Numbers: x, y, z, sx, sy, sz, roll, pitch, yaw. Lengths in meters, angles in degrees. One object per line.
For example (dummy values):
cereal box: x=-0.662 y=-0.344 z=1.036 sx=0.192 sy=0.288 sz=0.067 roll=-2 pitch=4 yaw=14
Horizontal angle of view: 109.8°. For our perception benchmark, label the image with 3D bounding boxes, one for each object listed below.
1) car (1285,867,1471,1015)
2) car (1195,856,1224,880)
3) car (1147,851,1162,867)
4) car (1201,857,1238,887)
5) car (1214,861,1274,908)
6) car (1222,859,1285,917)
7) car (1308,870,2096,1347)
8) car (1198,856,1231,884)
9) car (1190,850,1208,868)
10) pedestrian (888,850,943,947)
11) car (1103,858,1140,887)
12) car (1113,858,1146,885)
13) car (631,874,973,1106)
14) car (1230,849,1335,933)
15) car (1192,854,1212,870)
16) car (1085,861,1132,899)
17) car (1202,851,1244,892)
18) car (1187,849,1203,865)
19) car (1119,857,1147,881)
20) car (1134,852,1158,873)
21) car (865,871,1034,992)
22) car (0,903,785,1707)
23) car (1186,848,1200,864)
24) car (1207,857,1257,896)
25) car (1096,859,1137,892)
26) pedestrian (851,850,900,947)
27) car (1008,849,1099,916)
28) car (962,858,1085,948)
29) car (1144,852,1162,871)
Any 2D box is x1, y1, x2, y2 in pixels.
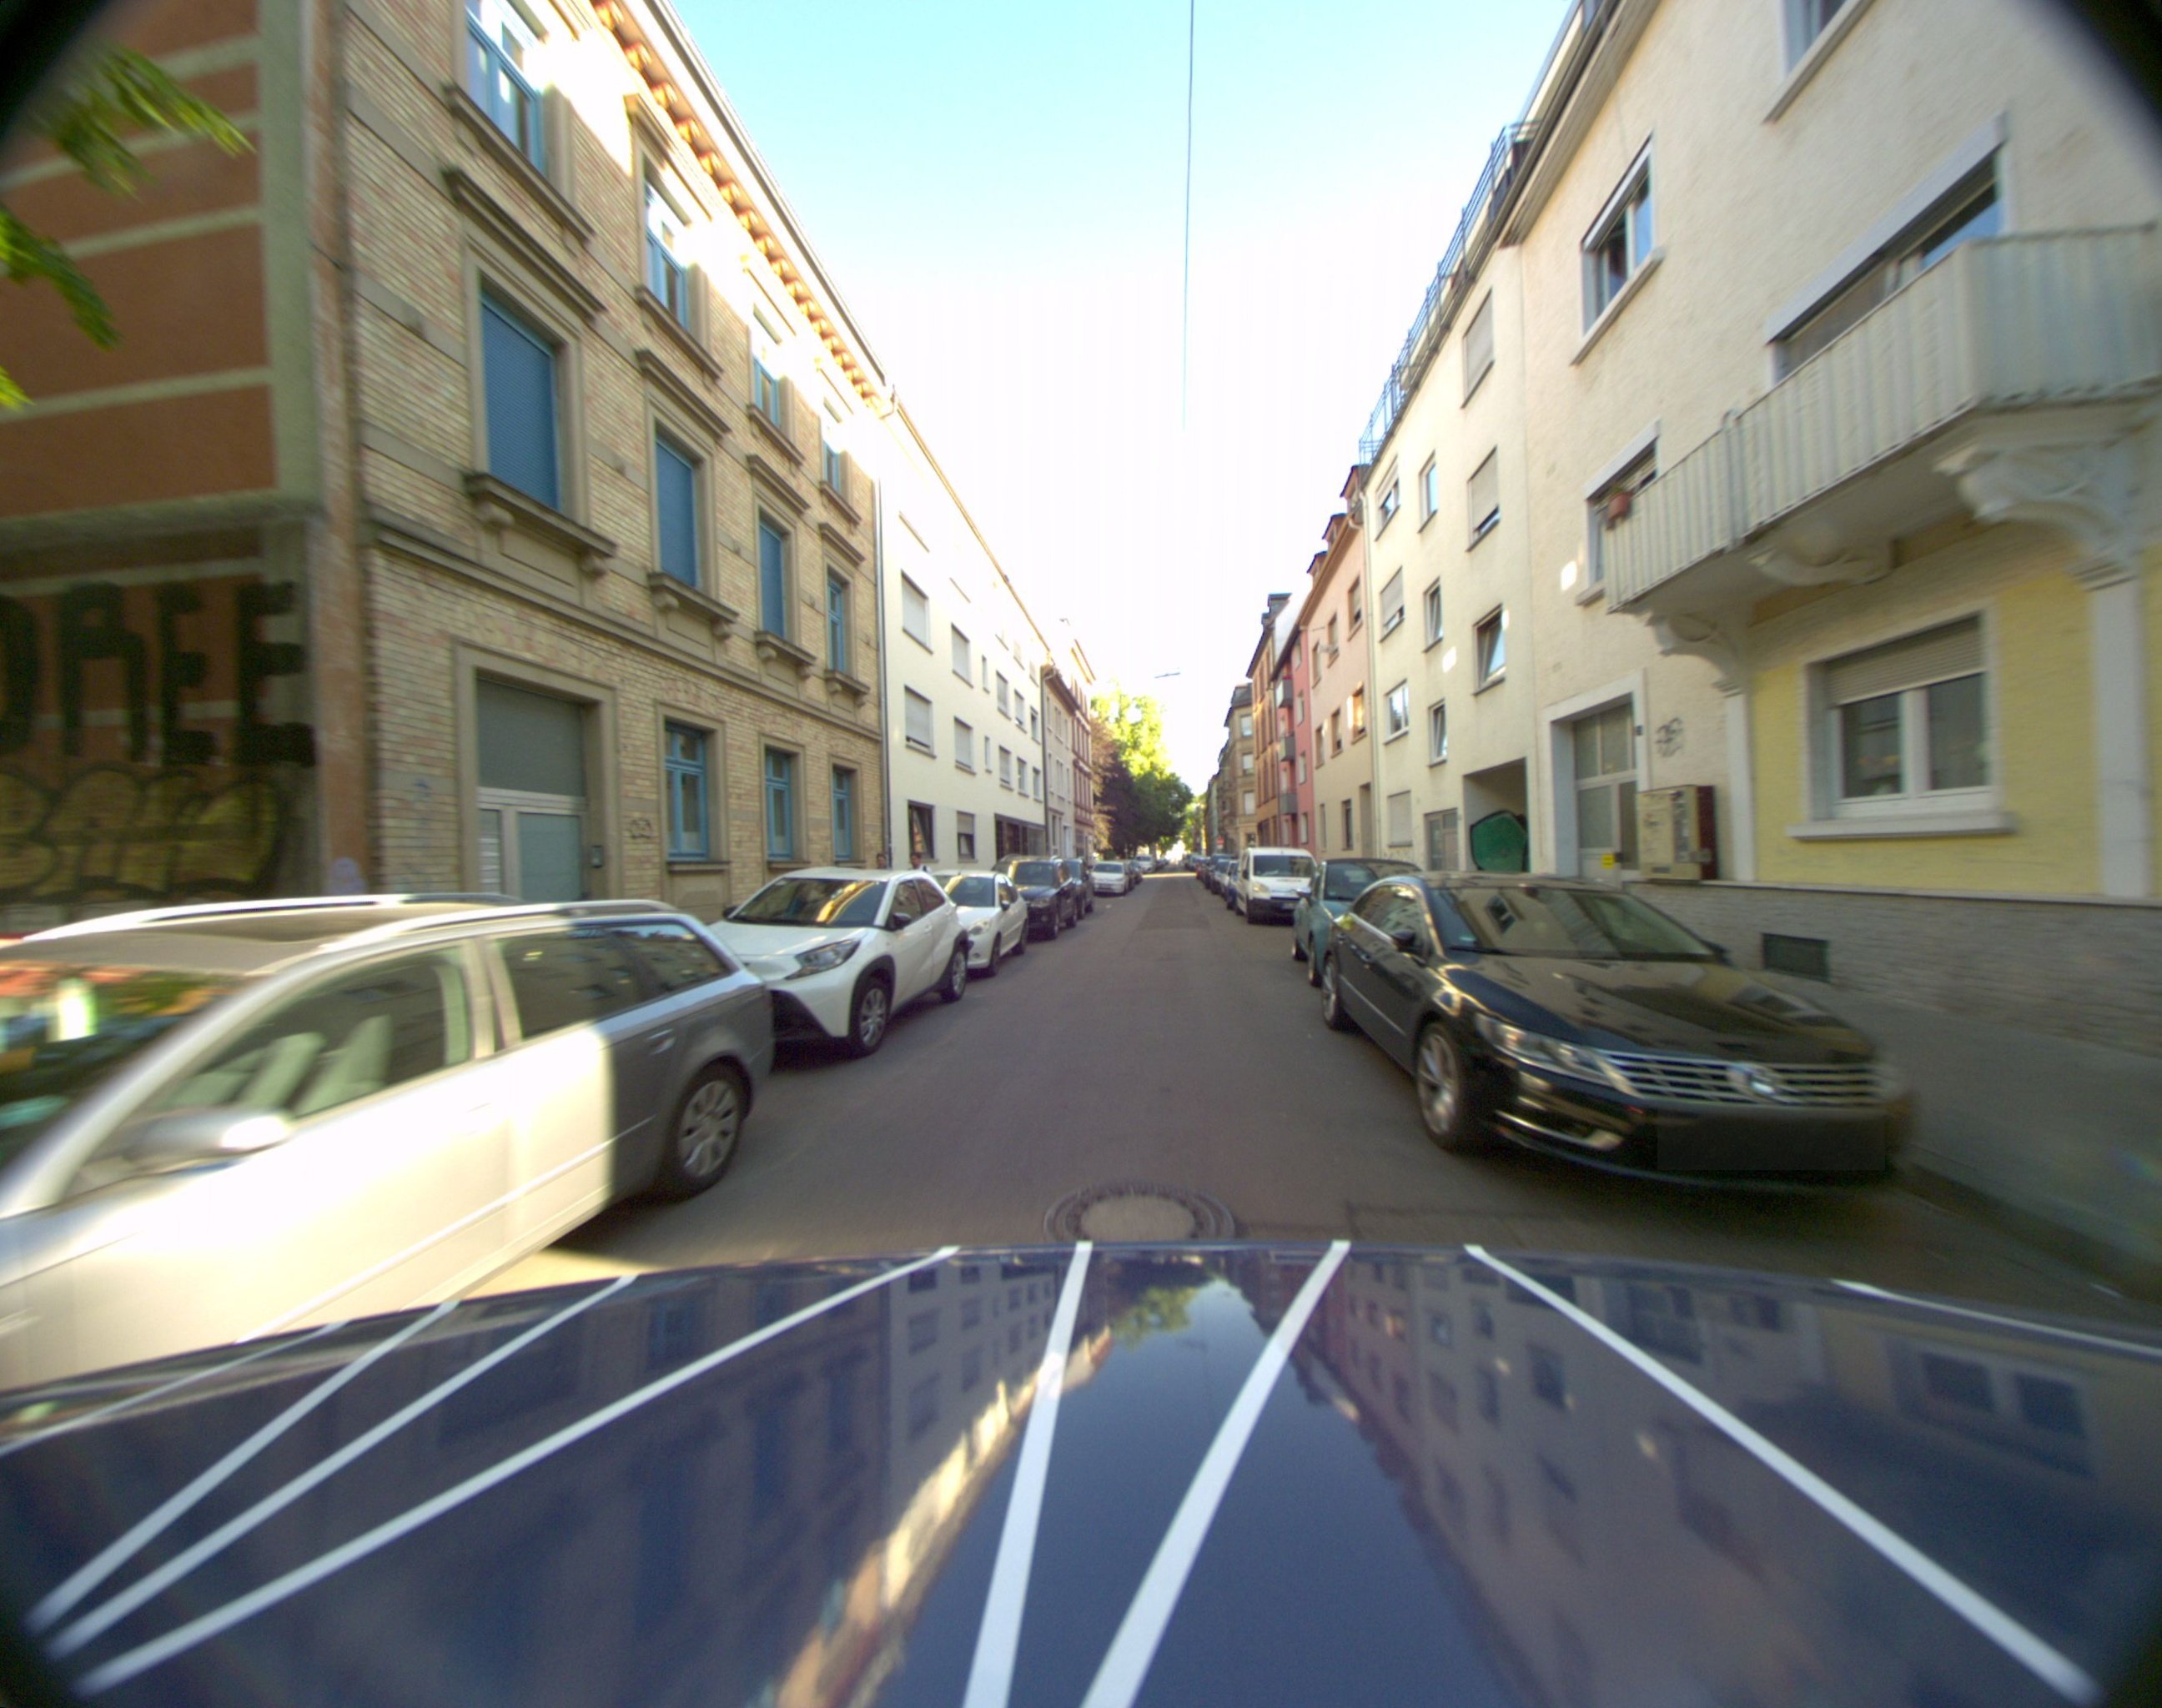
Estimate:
car: x=3.629 y=0.951 z=9.867 sx=1.596 sy=1.442 sz=3.488 roll=1 pitch=1 yaw=11
car: x=8.833 y=0.947 z=52.546 sx=1.767 sy=1.524 sz=4.105 roll=1 pitch=1 yaw=7
car: x=9.690 y=0.676 z=100.409 sx=1.767 sy=2.006 sz=4.266 roll=1 pitch=1 yaw=7
car: x=7.657 y=0.950 z=42.346 sx=1.767 sy=1.524 sz=4.105 roll=1 pitch=1 yaw=7
car: x=5.812 y=1.038 z=27.455 sx=1.674 sy=1.450 sz=4.086 roll=1 pitch=1 yaw=7
car: x=5.219 y=0.944 z=23.071 sx=1.673 sy=1.519 sz=4.088 roll=1 pitch=1 yaw=13
car: x=2.764 y=0.912 z=4.843 sx=1.782 sy=1.435 sz=4.394 roll=1 pitch=1 yaw=7
car: x=8.176 y=0.951 z=46.841 sx=1.767 sy=1.524 sz=4.105 roll=1 pitch=1 yaw=7
car: x=12.578 y=0.548 z=81.226 sx=1.767 sy=1.846 sz=3.995 roll=-1 pitch=0 yaw=7
pedestrian: x=-2.984 y=0.782 z=13.762 sx=0.711 sy=1.699 sz=0.752 roll=2 pitch=1 yaw=7
car: x=2.339 y=1.003 z=43.125 sx=1.767 sy=1.524 sz=4.105 roll=1 pitch=1 yaw=7
car: x=3.119 y=1.069 z=48.223 sx=1.767 sy=1.524 sz=4.105 roll=1 pitch=1 yaw=7
car: x=-2.339 y=1.037 z=7.470 sx=1.596 sy=1.576 sz=3.766 roll=0 pitch=0 yaw=7
car: x=4.658 y=0.761 z=18.160 sx=1.753 sy=1.731 sz=4.316 roll=1 pitch=1 yaw=6
car: x=12.040 y=0.797 z=75.873 sx=1.767 sy=1.463 sz=3.934 roll=1 pitch=1 yaw=7
car: x=1.306 y=1.129 z=34.328 sx=1.767 sy=1.508 sz=4.105 roll=1 pitch=1 yaw=7
car: x=6.950 y=0.815 z=37.436 sx=1.767 sy=1.814 sz=4.105 roll=1 pitch=1 yaw=7
car: x=14.289 y=0.294 z=95.198 sx=1.767 sy=1.915 sz=4.266 roll=1 pitch=1 yaw=7
car: x=3.703 y=1.024 z=53.640 sx=1.767 sy=1.524 sz=4.105 roll=1 pitch=1 yaw=7
car: x=6.469 y=0.793 z=75.344 sx=1.864 sy=1.970 sz=4.484 roll=1 pitch=1 yaw=11
car: x=-1.827 y=1.045 z=11.803 sx=1.597 sy=1.442 sz=4.004 roll=0 pitch=0 yaw=5
car: x=-2.819 y=1.056 z=2.281 sx=1.662 sy=1.485 sz=4.355 roll=-1 pitch=0 yaw=8
car: x=15.026 y=0.264 z=101.866 sx=1.767 sy=2.075 sz=4.266 roll=1 pitch=1 yaw=7
car: x=6.321 y=0.903 z=32.120 sx=1.767 sy=1.464 sz=3.818 roll=1 pitch=1 yaw=7
car: x=1.844 y=1.056 z=38.685 sx=1.767 sy=1.524 sz=4.105 roll=0 pitch=1 yaw=7
pedestrian: x=-3.729 y=0.790 z=13.826 sx=0.598 sy=1.699 sz=0.707 roll=2 pitch=1 yaw=7
car: x=-0.657 y=0.718 z=21.686 sx=1.884 sy=1.657 sz=4.330 roll=1 pitch=1 yaw=7
car: x=-1.090 y=0.946 z=16.632 sx=1.769 sy=1.657 sz=4.331 roll=-1 pitch=0 yaw=8
car: x=7.801 y=0.786 z=81.831 sx=1.767 sy=1.846 sz=4.287 roll=-1 pitch=0 yaw=7
